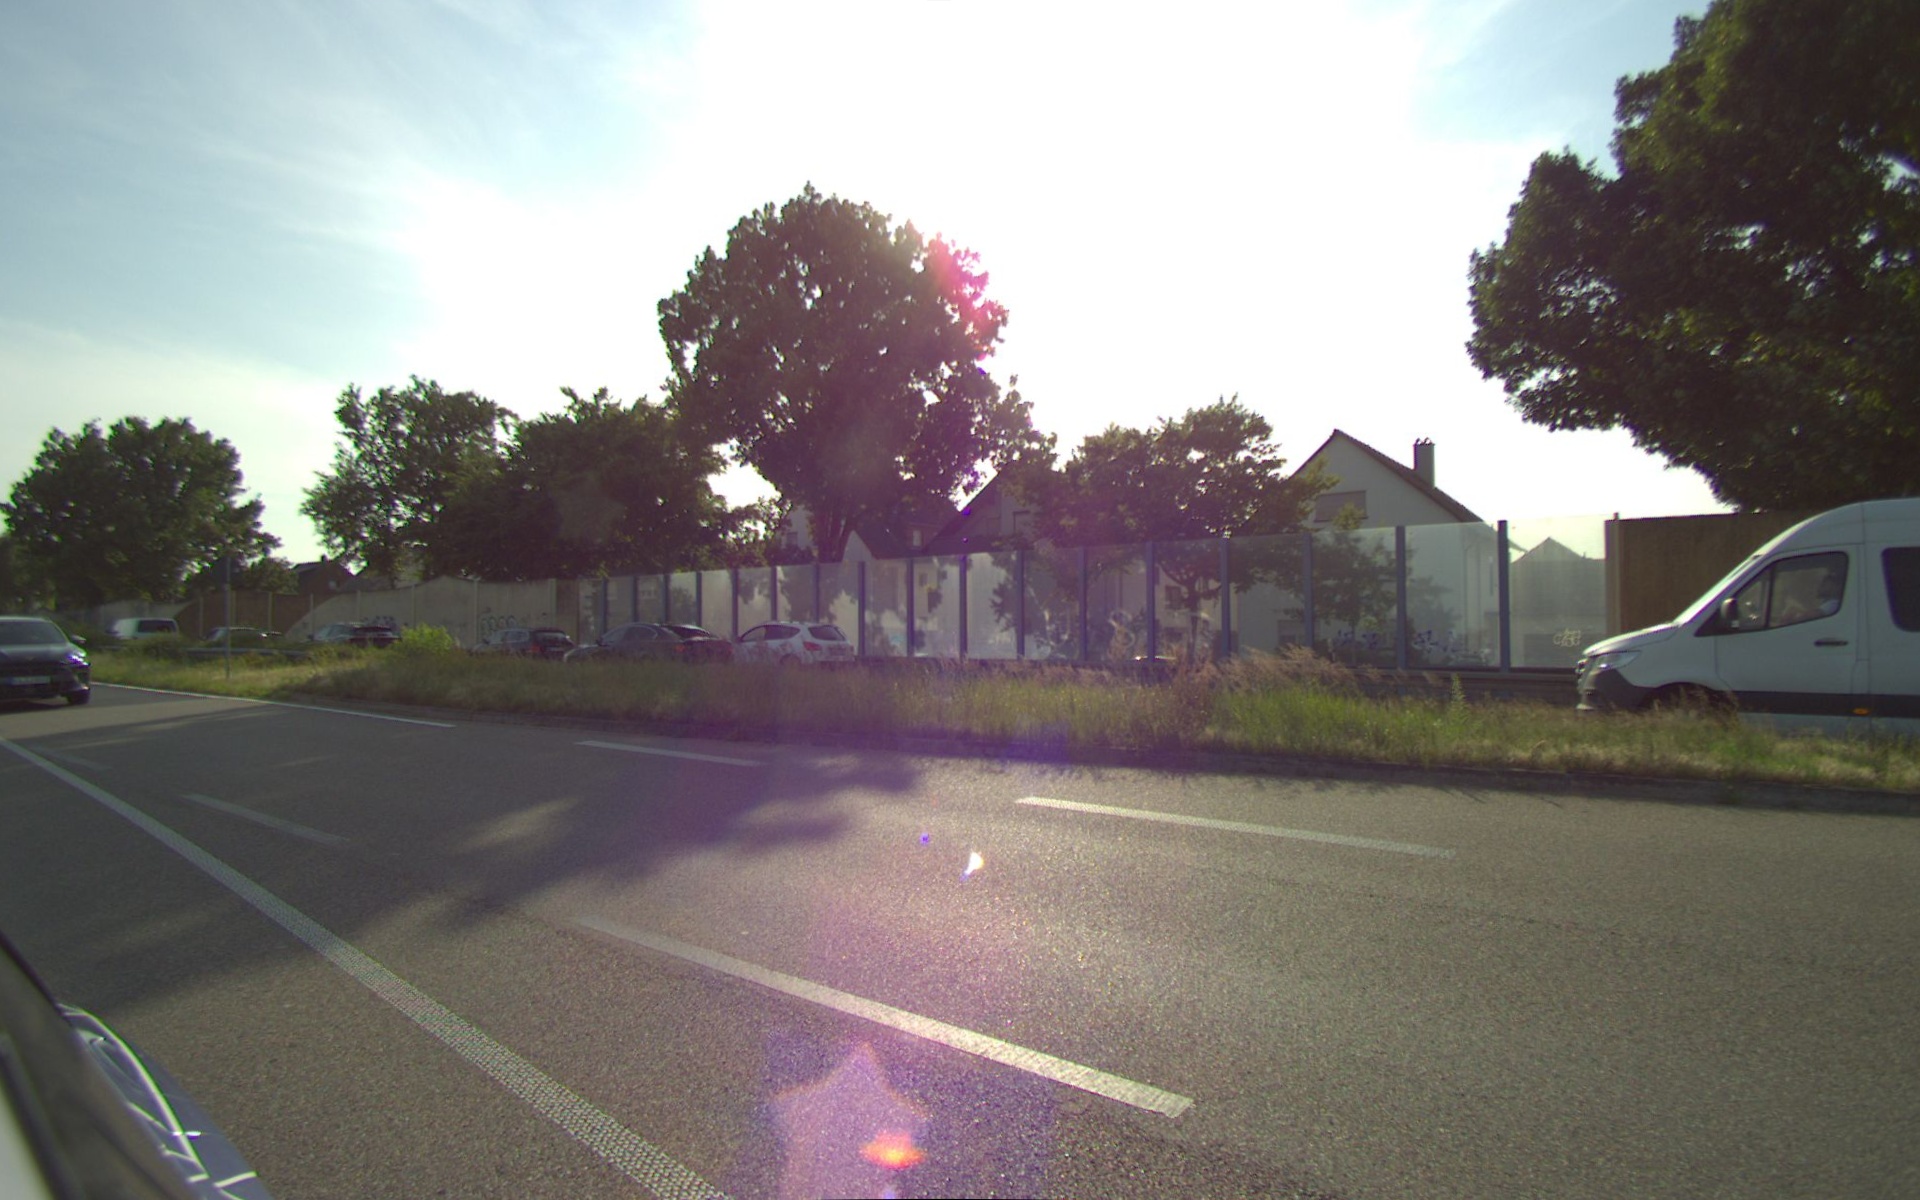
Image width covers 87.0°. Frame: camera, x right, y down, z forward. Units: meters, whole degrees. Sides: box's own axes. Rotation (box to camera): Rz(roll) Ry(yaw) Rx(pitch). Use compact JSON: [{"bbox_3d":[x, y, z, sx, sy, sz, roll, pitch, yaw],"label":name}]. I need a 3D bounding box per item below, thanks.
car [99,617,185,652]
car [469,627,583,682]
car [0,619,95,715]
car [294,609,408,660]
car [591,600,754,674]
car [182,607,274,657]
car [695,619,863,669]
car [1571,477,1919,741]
[{"bbox_3d":[-38.137,1.587,47.139,5.051,1.495,1.963,-2,0,37],"label":"car"},{"bbox_3d":[-14.206,1.752,33.082,3.994,1.630,1.718,-2,0,38],"label":"car"},{"bbox_3d":[-17.222,1.153,18.162,4.241,1.536,1.800,-2,0,38],"label":"car"},{"bbox_3d":[-19.252,1.076,31.901,4.652,1.476,1.500,-2,0,38],"label":"car"},{"bbox_3d":[-6.267,0.780,21.956,3.563,1.453,1.632,-2,0,39],"label":"car"},{"bbox_3d":[-28.967,1.250,40.028,4.361,1.846,1.747,-2,0,37],"label":"car"},{"bbox_3d":[-4.594,1.071,25.332,4.407,1.113,1.652,-2,0,39],"label":"car"},{"bbox_3d":[9.897,0.045,9.225,7.179,2.321,2.326,-2,0,37],"label":"car"}]
